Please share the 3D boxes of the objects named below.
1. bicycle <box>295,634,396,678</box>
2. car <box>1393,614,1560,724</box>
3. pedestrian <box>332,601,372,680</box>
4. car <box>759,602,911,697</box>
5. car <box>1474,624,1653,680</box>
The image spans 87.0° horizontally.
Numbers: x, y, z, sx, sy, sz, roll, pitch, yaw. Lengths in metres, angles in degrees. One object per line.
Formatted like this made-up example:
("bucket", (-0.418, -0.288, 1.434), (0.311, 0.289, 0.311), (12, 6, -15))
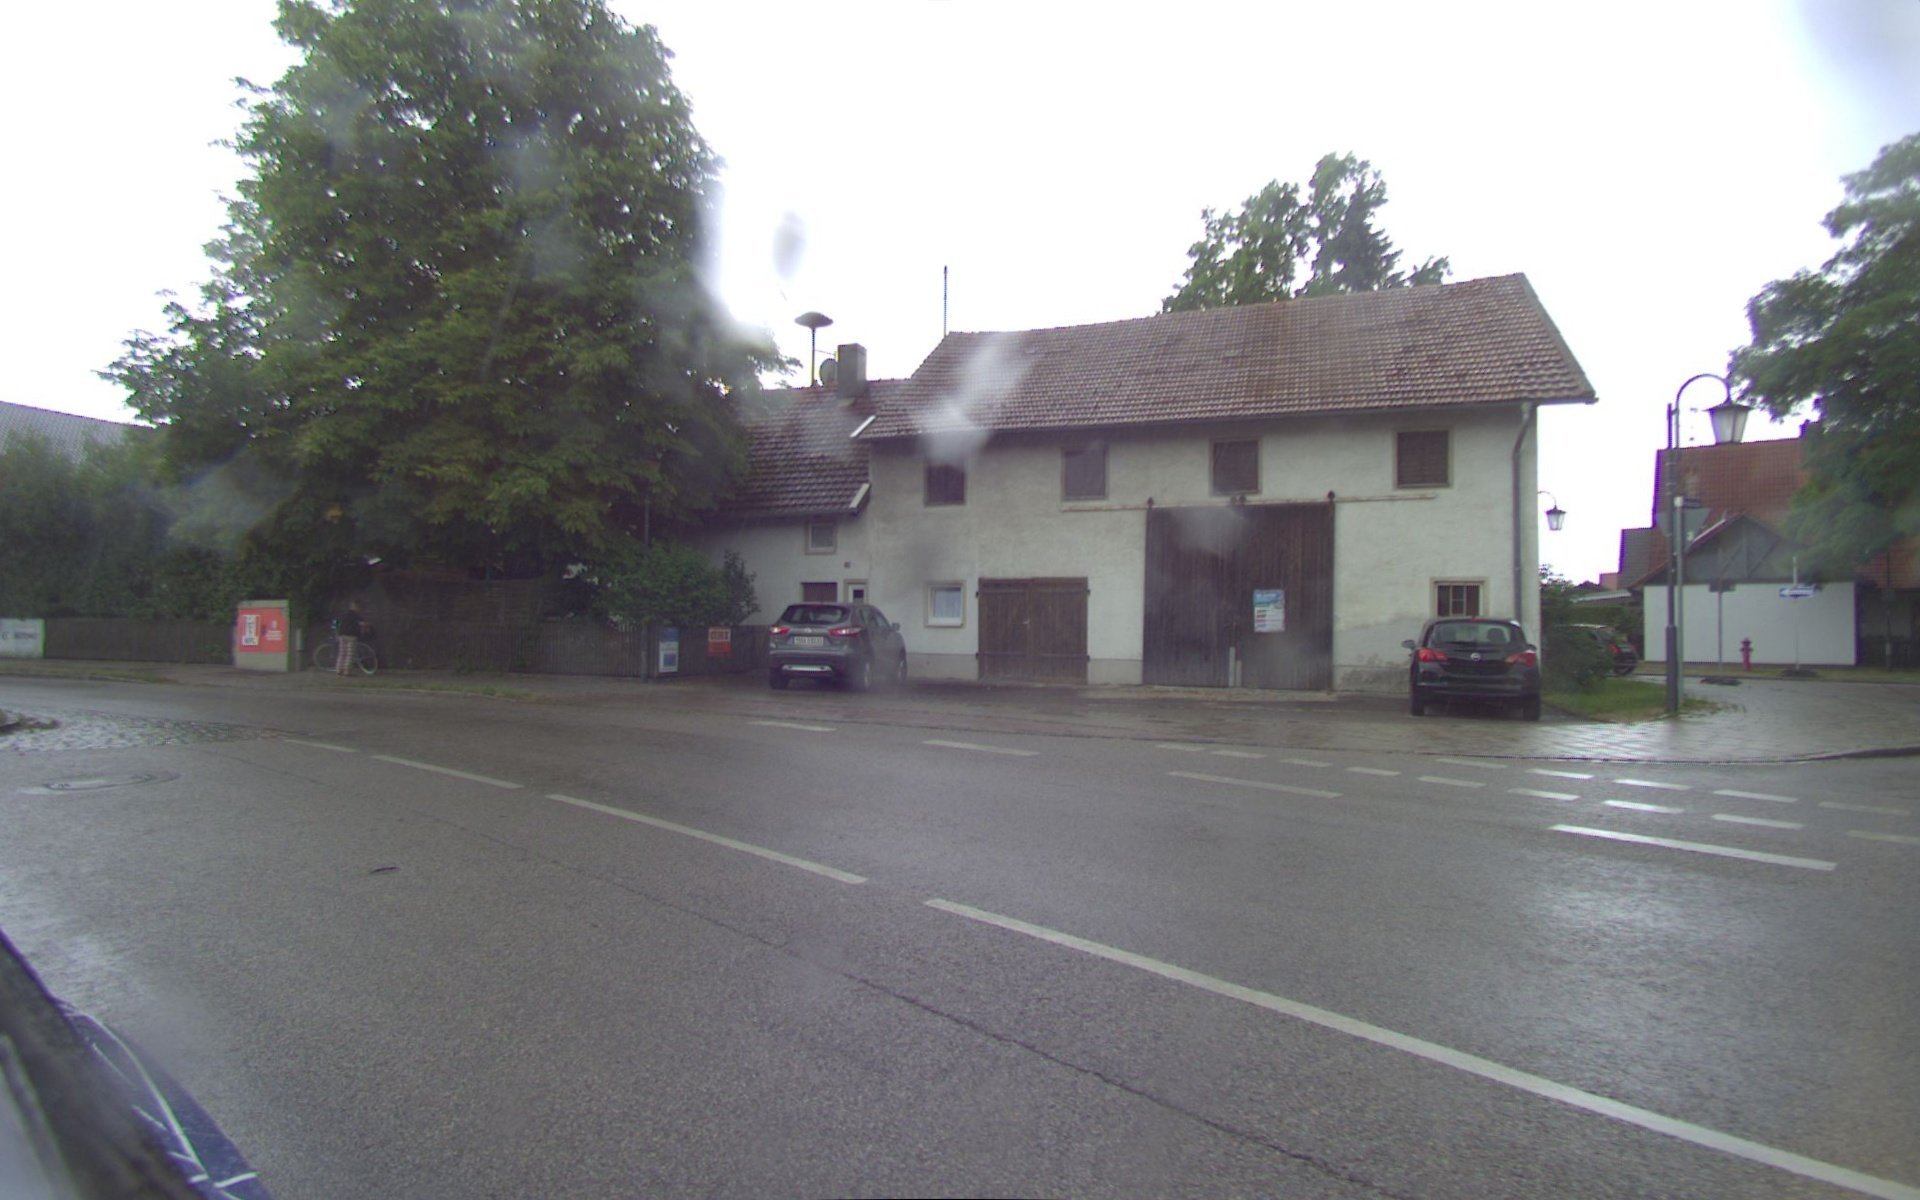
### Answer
("bicycle", (-13.310, 1.208, 21.952), (1.851, 0.909, 0.663), (0, -1, 6))
("car", (8.057, 0.955, 15.583), (1.816, 1.447, 4.232), (-1, -1, 34))
("pedestrian", (-12.749, 0.844, 21.229), (0.642, 1.640, 0.480), (1, -1, -23))
("car", (-2.202, 0.929, 19.054), (1.796, 1.560, 4.270), (0, -3, 8))
("car", (18.201, 1.512, 30.706), (1.848, 1.560, 4.293), (1, -1, -32))
